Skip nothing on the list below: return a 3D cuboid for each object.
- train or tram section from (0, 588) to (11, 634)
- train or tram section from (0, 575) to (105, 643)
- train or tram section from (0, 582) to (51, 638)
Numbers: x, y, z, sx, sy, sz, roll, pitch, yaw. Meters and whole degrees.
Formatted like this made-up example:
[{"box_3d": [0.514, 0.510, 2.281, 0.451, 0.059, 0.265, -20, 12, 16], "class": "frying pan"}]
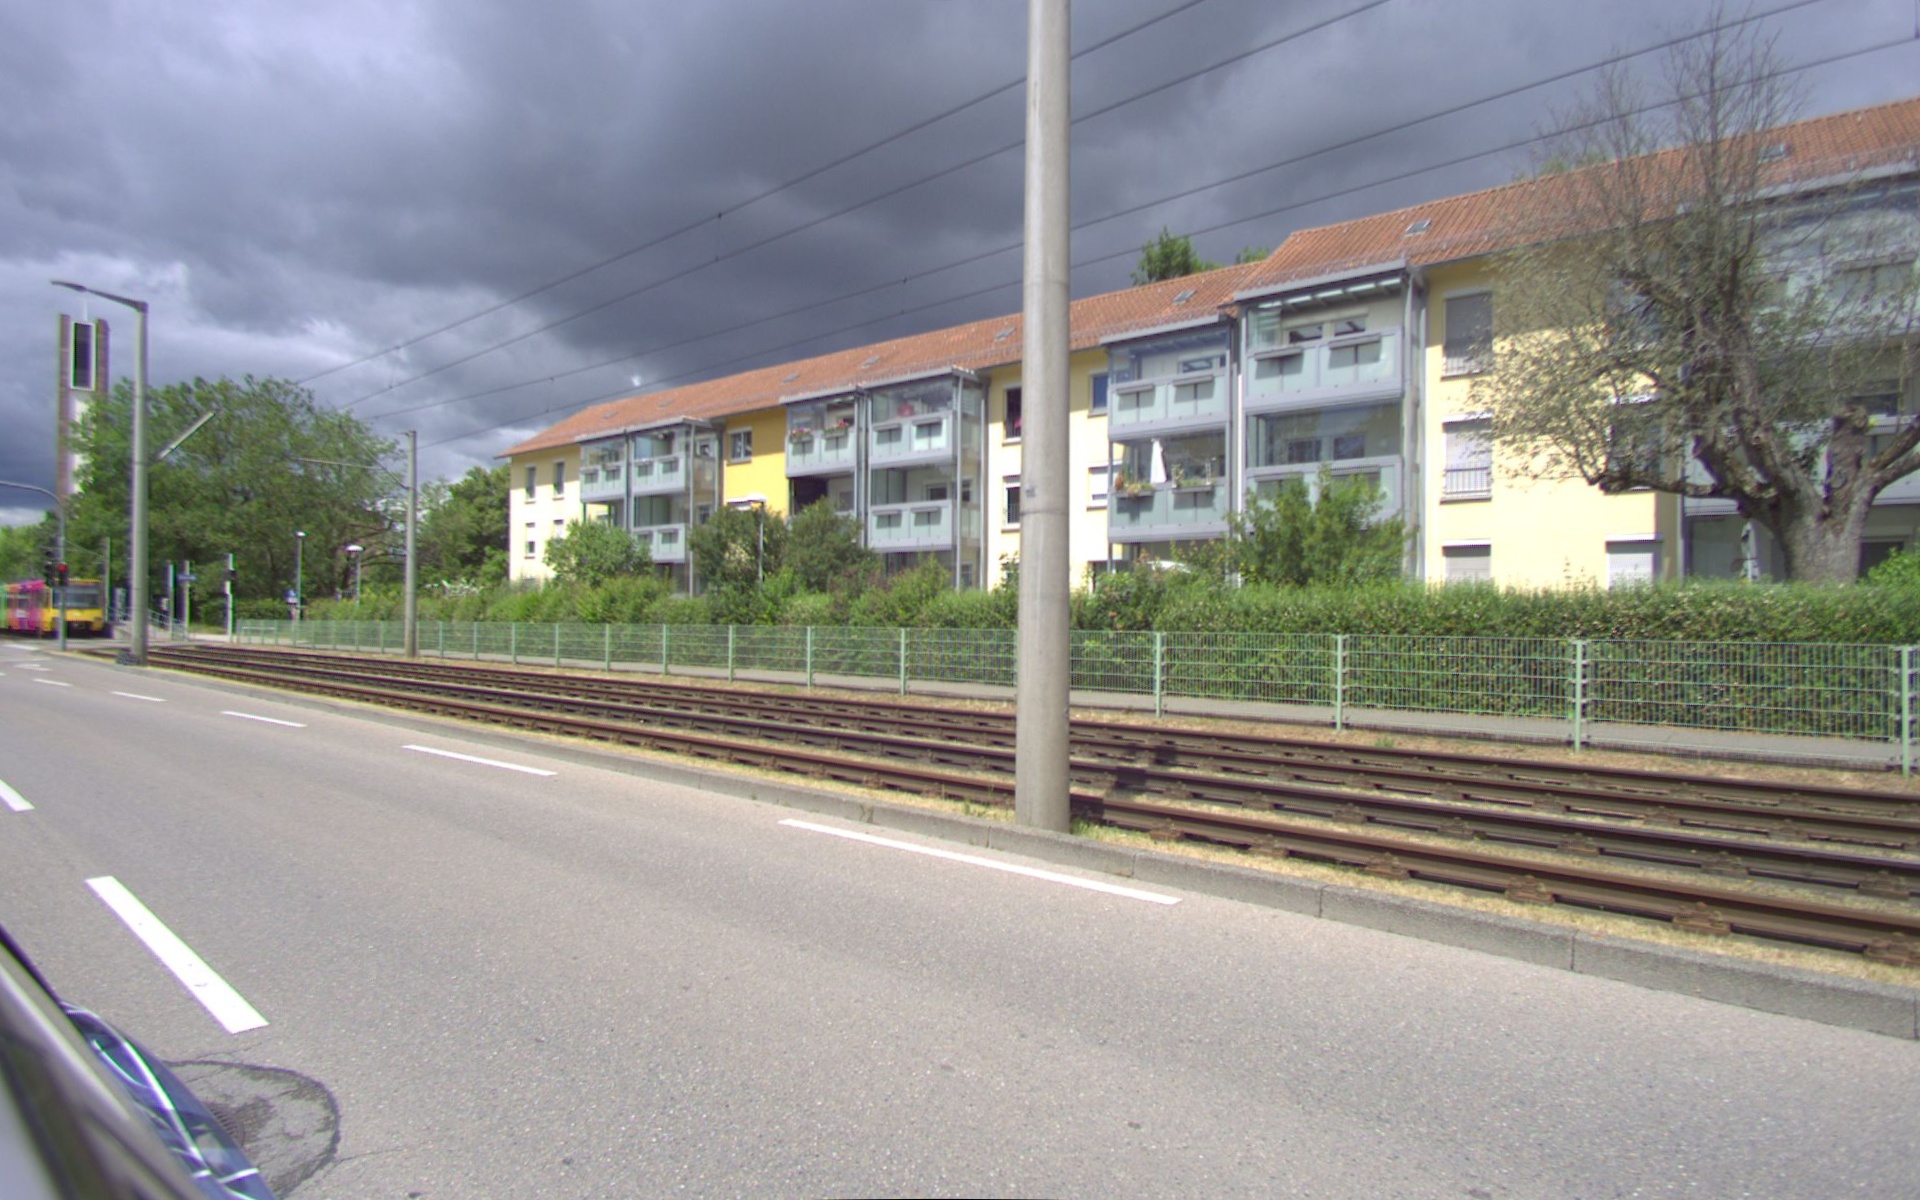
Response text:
[{"box_3d": [-85.494, 0.975, 88.010, 12.192, 3.892, 2.950, -1, 0, 41], "class": "train or tram section"}, {"box_3d": [-58.957, 0.595, 65.261, 18.525, 3.892, 2.950, -1, 0, 41], "class": "train or tram section"}, {"box_3d": [-69.263, 0.706, 74.094, 8.372, 3.892, 2.950, -1, 0, 41], "class": "train or tram section"}]
